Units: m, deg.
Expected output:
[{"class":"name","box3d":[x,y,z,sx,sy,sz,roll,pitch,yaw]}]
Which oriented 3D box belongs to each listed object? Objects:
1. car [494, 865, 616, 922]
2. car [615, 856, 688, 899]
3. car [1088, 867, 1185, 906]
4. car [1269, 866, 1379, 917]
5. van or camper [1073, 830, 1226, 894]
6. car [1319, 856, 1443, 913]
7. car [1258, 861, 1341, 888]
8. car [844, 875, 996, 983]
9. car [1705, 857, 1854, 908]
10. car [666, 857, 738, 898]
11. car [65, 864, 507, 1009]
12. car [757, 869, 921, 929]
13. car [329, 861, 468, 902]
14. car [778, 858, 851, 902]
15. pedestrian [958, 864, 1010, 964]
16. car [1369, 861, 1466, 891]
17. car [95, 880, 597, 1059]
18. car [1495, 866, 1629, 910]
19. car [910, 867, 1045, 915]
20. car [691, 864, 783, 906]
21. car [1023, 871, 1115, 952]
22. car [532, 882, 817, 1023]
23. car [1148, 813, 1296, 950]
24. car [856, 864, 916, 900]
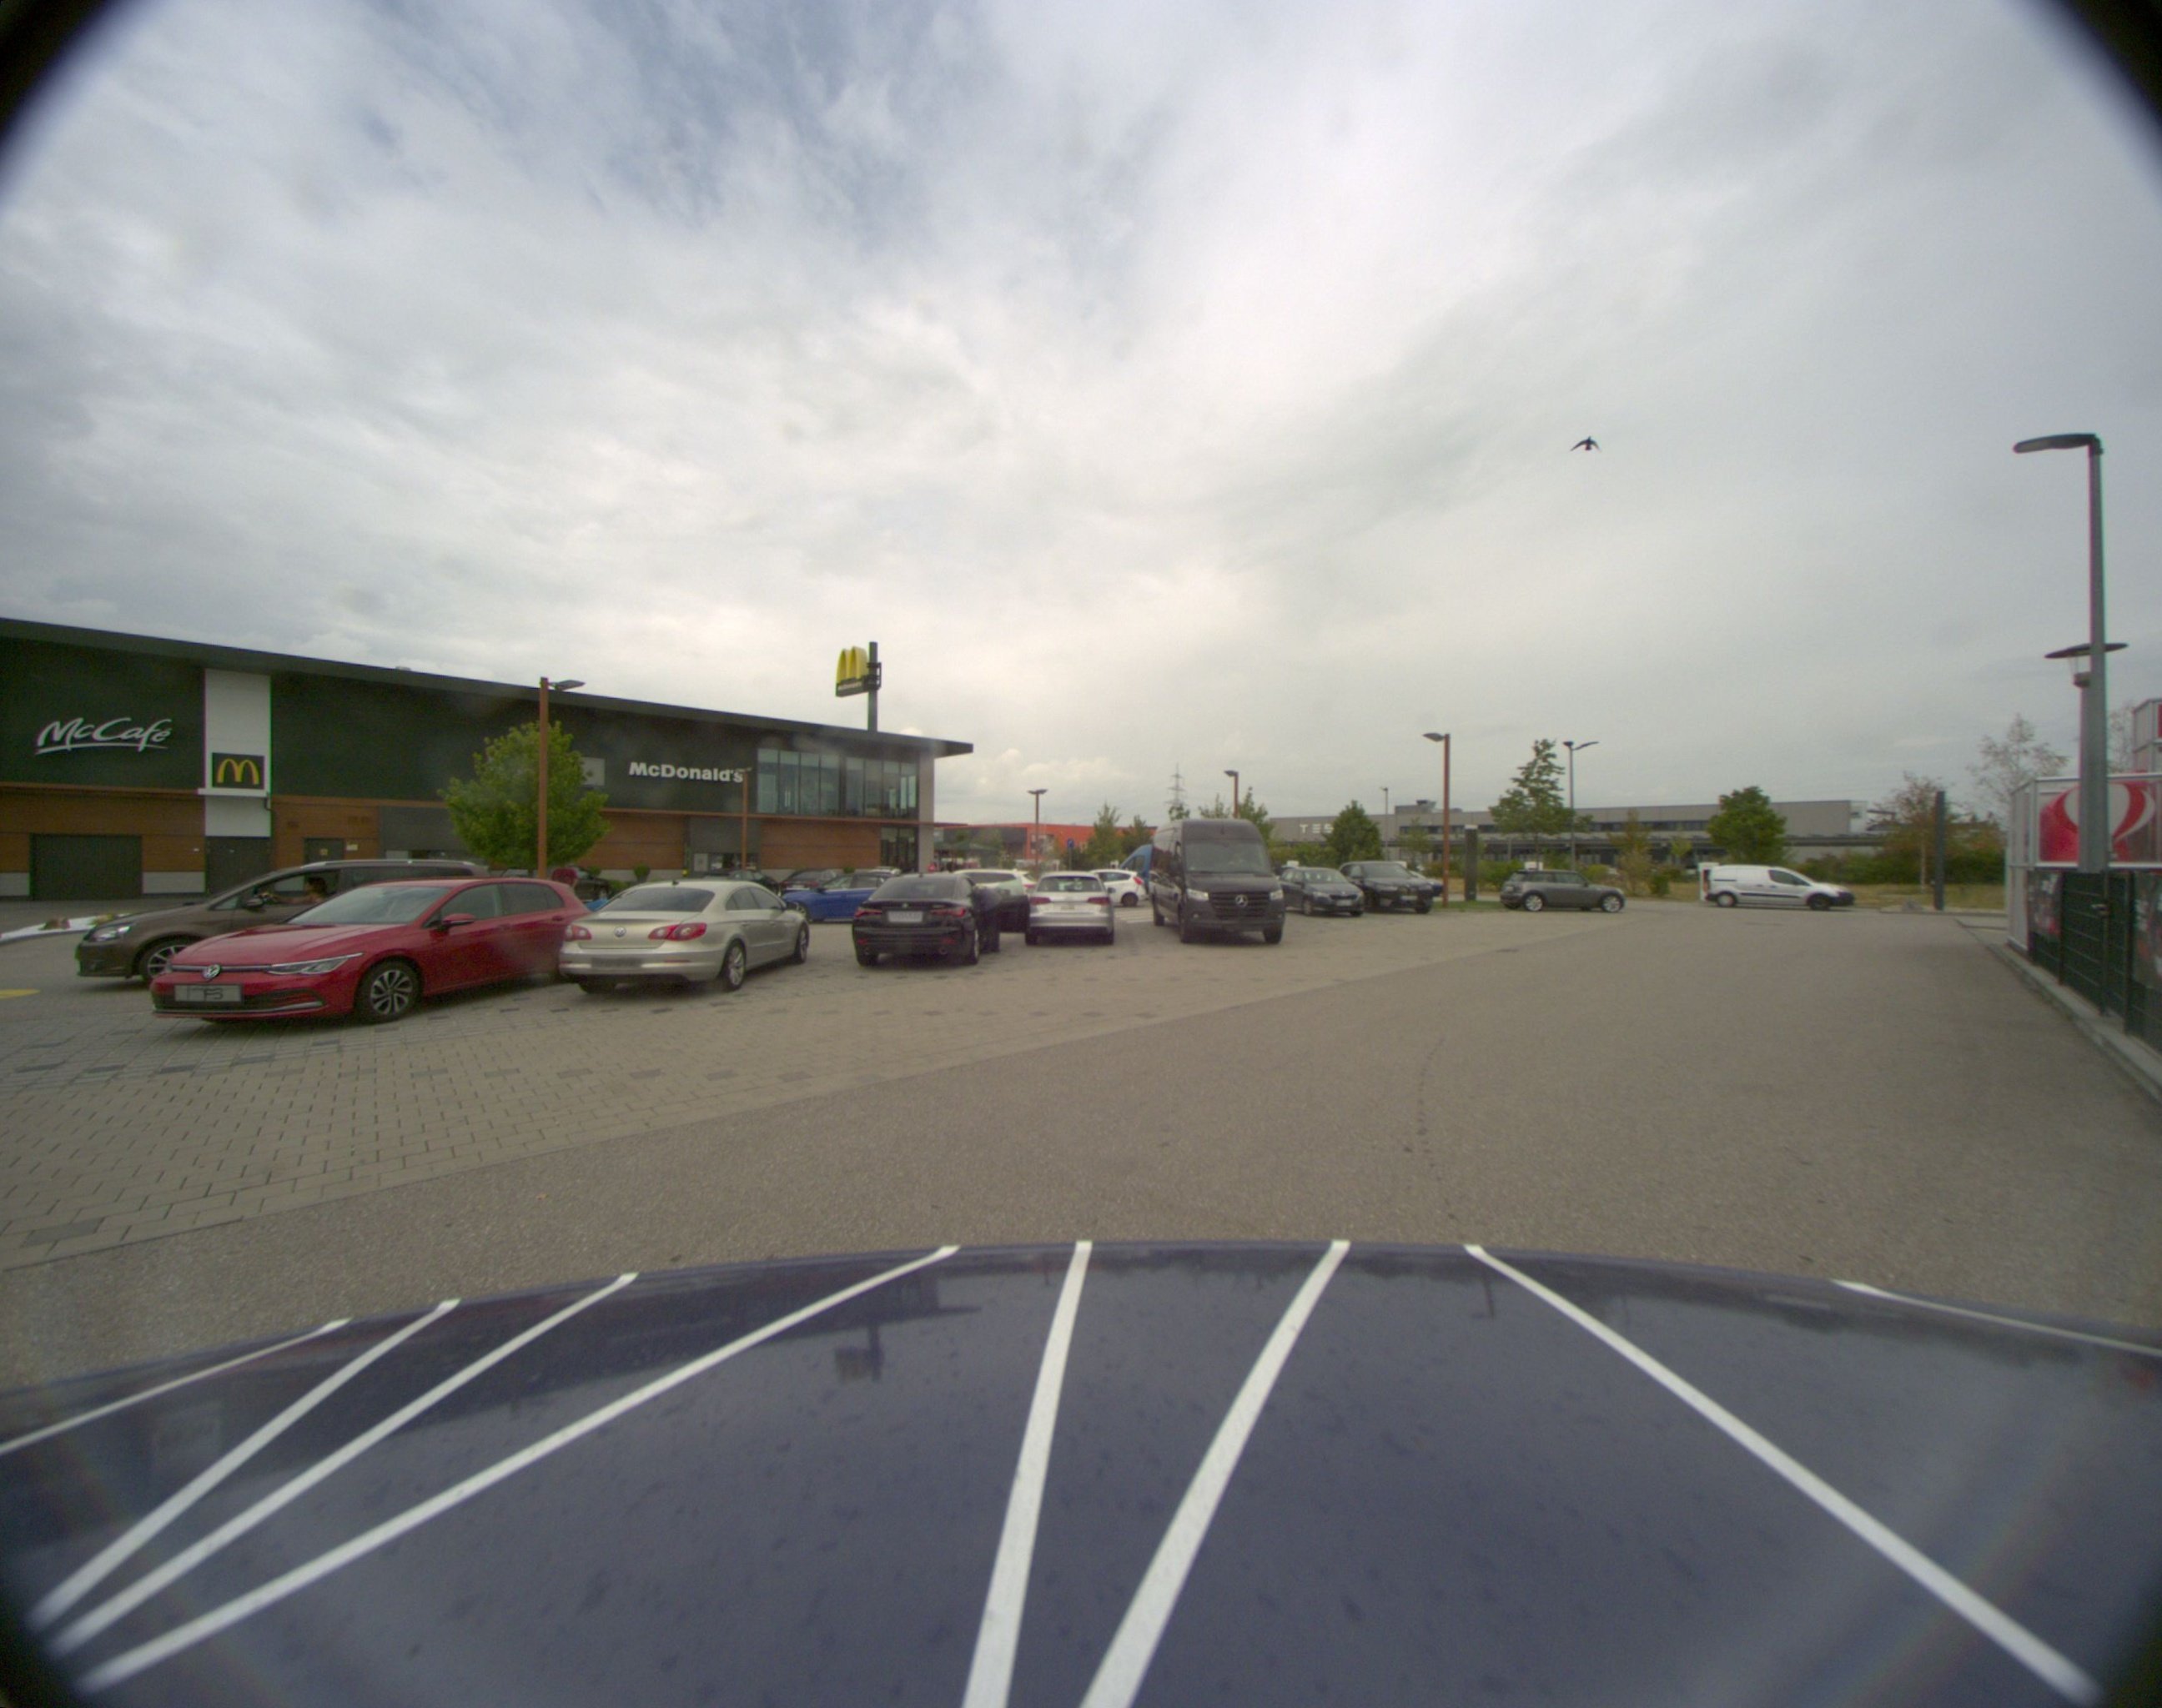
[{"class":"car","box3d":[-18.982,1.368,27.660,2.000,1.740,3.997,1,1,-7]},{"class":"car","box3d":[-18.949,1.008,33.458,3.988,1.743,1.757,1,-1,45]},{"class":"car","box3d":[2.078,1.221,29.213,3.571,1.445,1.842,0,0,-1]},{"class":"car","box3d":[7.455,1.100,23.738,1.832,1.403,3.998,0,0,-6]},{"class":"van or camper","box3d":[3.038,0.387,34.107,6.566,2.684,2.174,-1,-1,5]},{"class":"car","box3d":[9.932,0.958,25.635,1.999,1.717,4.895,1,-1,-4]},{"class":"car","box3d":[13.445,1.213,46.894,2.077,1.544,4.465,0,0,-45]},{"class":"car","box3d":[-2.560,1.141,13.090,1.686,1.454,4.407,-1,-1,0]},{"class":"car","box3d":[28.243,1.106,30.804,1.951,1.877,4.324,2,-1,-44]},{"class":"car","box3d":[-17.491,1.063,35.032,3.988,1.743,1.757,1,-1,45]},{"class":"car","box3d":[-11.219,1.037,11.124,1.805,1.680,4.200,1,-1,42]},{"class":"car","box3d":[-6.746,1.234,21.463,3.996,1.501,1.770,1,0,2]},{"class":"car","box3d":[-27.027,1.082,30.177,4.009,1.497,1.783,2,-1,-44]},{"class":"car","box3d":[-11.819,1.109,33.949,1.897,1.652,4.256,1,2,-3]},{"class":"pedestrian","box3d":[-1.684,1.030,13.350,0.749,1.668,0.843,-2,0,1]},{"class":"car","box3d":[18.264,1.160,41.406,1.837,1.450,4.443,-1,1,-41]},{"class":"car","box3d":[-7.686,1.077,8.612,1.685,1.455,4.001,-1,-1,3]},{"class":"car","box3d":[16.403,1.137,26.063,3.523,1.368,1.610,1,0,6]},{"class":"car","box3d":[-3.211,1.171,24.201,4.109,1.458,1.780,0,-2,-3]},{"class":"car","box3d":[-14.241,1.235,31.705,1.836,1.565,4.093,0,0,3]},{"class":"car","box3d":[-0.160,1.109,15.998,1.686,1.443,4.001,-1,-1,2]},{"class":"car","box3d":[-5.189,1.144,10.497,1.753,1.403,4.459,-1,-1,-3]},{"class":"car","box3d":[2.939,0.556,17.635,2.072,2.538,7.013,-1,-1,0]},{"class":"car","box3d":[-9.382,1.316,36.918,1.789,1.478,3.999,2,2,1]}]
